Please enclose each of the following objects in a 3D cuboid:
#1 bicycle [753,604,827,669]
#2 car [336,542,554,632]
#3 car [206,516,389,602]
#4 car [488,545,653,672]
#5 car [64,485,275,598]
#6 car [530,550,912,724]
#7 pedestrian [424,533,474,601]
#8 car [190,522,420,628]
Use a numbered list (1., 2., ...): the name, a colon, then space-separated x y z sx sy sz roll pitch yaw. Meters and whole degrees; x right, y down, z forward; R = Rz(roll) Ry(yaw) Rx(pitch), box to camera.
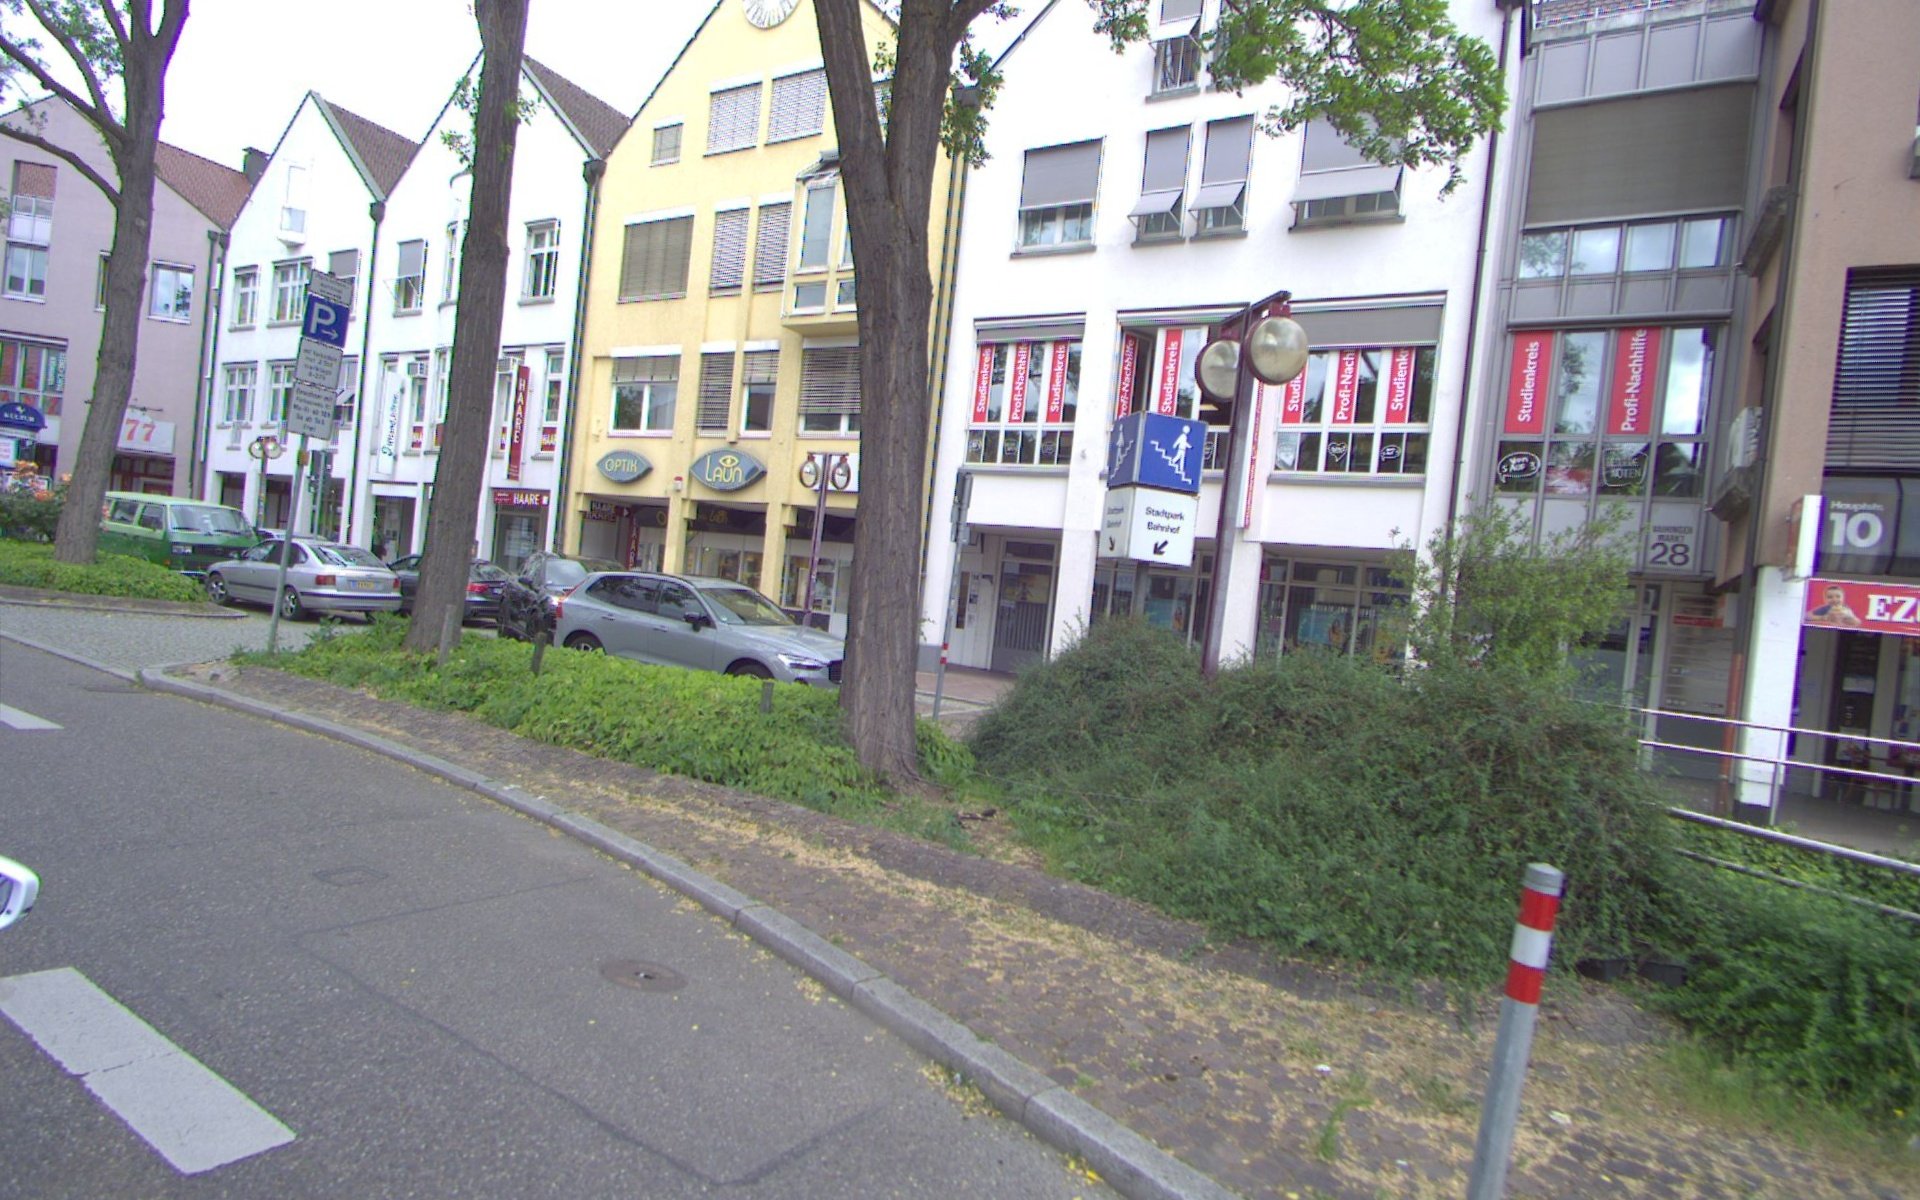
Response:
1. bicycle: -3.231 0.687 19.078 1.356 1.058 0.392 7 2 31
2. car: -10.942 -0.285 21.337 4.344 1.394 1.999 7 1 30
3. car: -15.748 -0.978 23.860 4.319 1.562 1.798 7 1 30
4. car: -6.831 0.054 17.311 1.838 1.692 4.626 5 1 -30
5. car: -16.901 -1.258 21.460 4.527 1.900 1.882 7 2 30
6. car: -3.228 0.425 13.376 4.681 1.615 1.997 7 0 28
7. pedestrian: -13.474 -0.854 26.526 0.805 1.682 0.789 7 3 31
8. car: -12.401 -0.492 18.993 4.344 1.468 1.765 7 0 30
